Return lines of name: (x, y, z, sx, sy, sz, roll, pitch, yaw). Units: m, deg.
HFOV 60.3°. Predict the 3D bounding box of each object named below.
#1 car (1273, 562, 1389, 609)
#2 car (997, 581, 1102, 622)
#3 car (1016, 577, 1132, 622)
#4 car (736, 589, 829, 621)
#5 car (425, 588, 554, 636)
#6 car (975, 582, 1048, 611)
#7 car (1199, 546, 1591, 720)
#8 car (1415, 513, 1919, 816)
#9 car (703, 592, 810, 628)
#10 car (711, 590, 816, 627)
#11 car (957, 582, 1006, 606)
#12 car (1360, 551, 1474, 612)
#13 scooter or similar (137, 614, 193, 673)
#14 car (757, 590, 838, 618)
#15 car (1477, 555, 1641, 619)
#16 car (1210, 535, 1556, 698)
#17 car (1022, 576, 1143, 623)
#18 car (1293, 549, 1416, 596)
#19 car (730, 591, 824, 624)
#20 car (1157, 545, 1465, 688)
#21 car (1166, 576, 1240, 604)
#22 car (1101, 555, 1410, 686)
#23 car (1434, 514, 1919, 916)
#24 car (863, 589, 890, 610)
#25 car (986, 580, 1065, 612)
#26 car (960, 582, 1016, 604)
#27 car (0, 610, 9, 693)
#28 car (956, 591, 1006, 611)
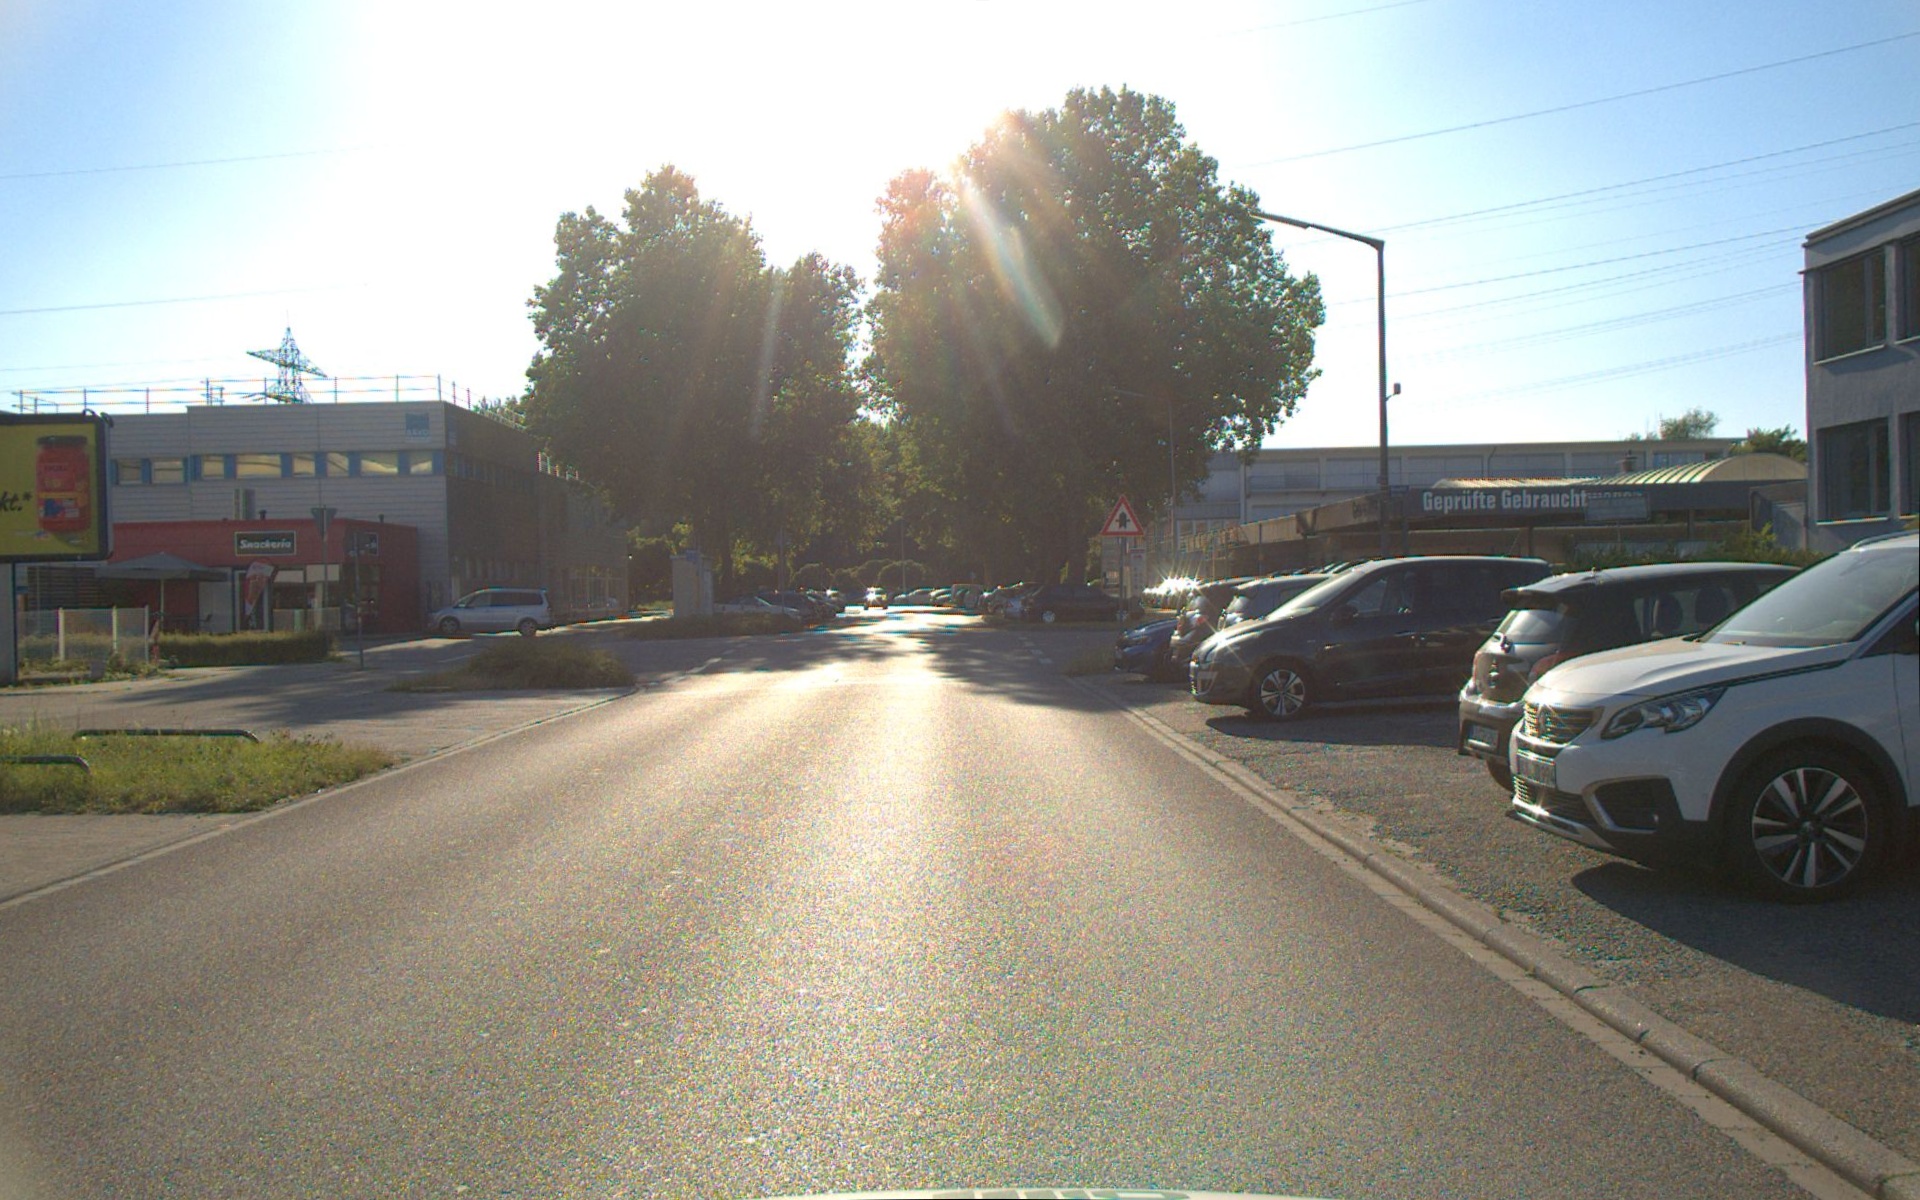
car: (13.968, -0.553, 62.395, 3.907, 1.730, 1.999, 0, 0, -2)
car: (3.423, 0.054, 63.885, 3.906, 1.440, 1.826, -2, 0, -1)
car: (4.018, -0.013, 58.845, 3.906, 1.440, 2.000, -2, 0, -1)
car: (-8.686, 0.251, 81.249, 4.325, 1.543, 2.000, 0, 0, 0)
car: (-17.578, 0.430, 61.841, 4.556, 1.771, 1.991, 0, 0, -17)
car: (2.797, -0.204, 90.733, 3.906, 1.405, 1.826, -2, 0, -1)
car: (4.716, 0.355, 18.455, 3.903, 1.641, 2.001, -3, 0, 6)
car: (5.372, 0.327, 10.849, 4.163, 1.651, 1.920, -3, 0, -2)
car: (-8.410, 0.398, 68.536, 4.330, 1.427, 1.997, 0, 0, -6)
car: (-8.400, 0.347, 70.971, 4.327, 1.543, 1.999, 0, 0, -3)
car: (1.748, -0.480, 135.370, 3.906, 1.808, 1.826, -2, 0, -1)
car: (14.659, -0.554, 52.991, 1.905, 1.801, 3.975, -3, -3, 42)
scooter or similar: (-16.992, 0.912, 35.345, 1.365, 1.221, 0.621, 0, 0, 43)
car: (-9.044, 0.211, 92.195, 4.325, 1.543, 2.000, 0, 0, 0)
car: (17.161, -0.358, 47.510, 3.908, 1.633, 1.998, -1, -2, -4)
car: (5.385, 0.203, 21.405, 3.907, 1.680, 1.800, -5, 0, -1)
car: (4.153, -0.033, 56.559, 3.906, 1.440, 2.000, -2, 0, -1)
car: (14.180, -0.978, 59.581, 3.907, 1.663, 1.999, 0, 0, -2)
car: (-8.612, 0.343, 78.113, 4.329, 1.543, 1.998, 0, 0, -5)
car: (4.958, 0.225, 23.712, 3.909, 1.681, 1.741, -4, 0, -4)
car: (13.821, -0.546, 94.326, 3.907, 1.573, 1.999, 0, 0, -2)
car: (4.609, 0.303, 26.132, 4.436, 1.701, 1.752, -4, 0, -5)
car: (5.009, 0.368, 8.353, 4.466, 1.625, 2.200, -5, 0, -4)
car: (-6.540, -0.059, 130.311, 1.953, 1.637, 3.999, 1, 0, -1)
car: (3.351, -0.206, 84.766, 3.906, 1.440, 1.826, -2, 0, -1)
car: (2.022, -0.483, 119.335, 3.906, 1.440, 1.826, -2, 0, -1)
car: (-19.866, 1.113, 30.684, 1.953, 1.604, 4.340, 0, 3, -1)
car: (1.645, 0.105, 131.562, 3.906, 1.440, 1.826, -2, 0, -1)
